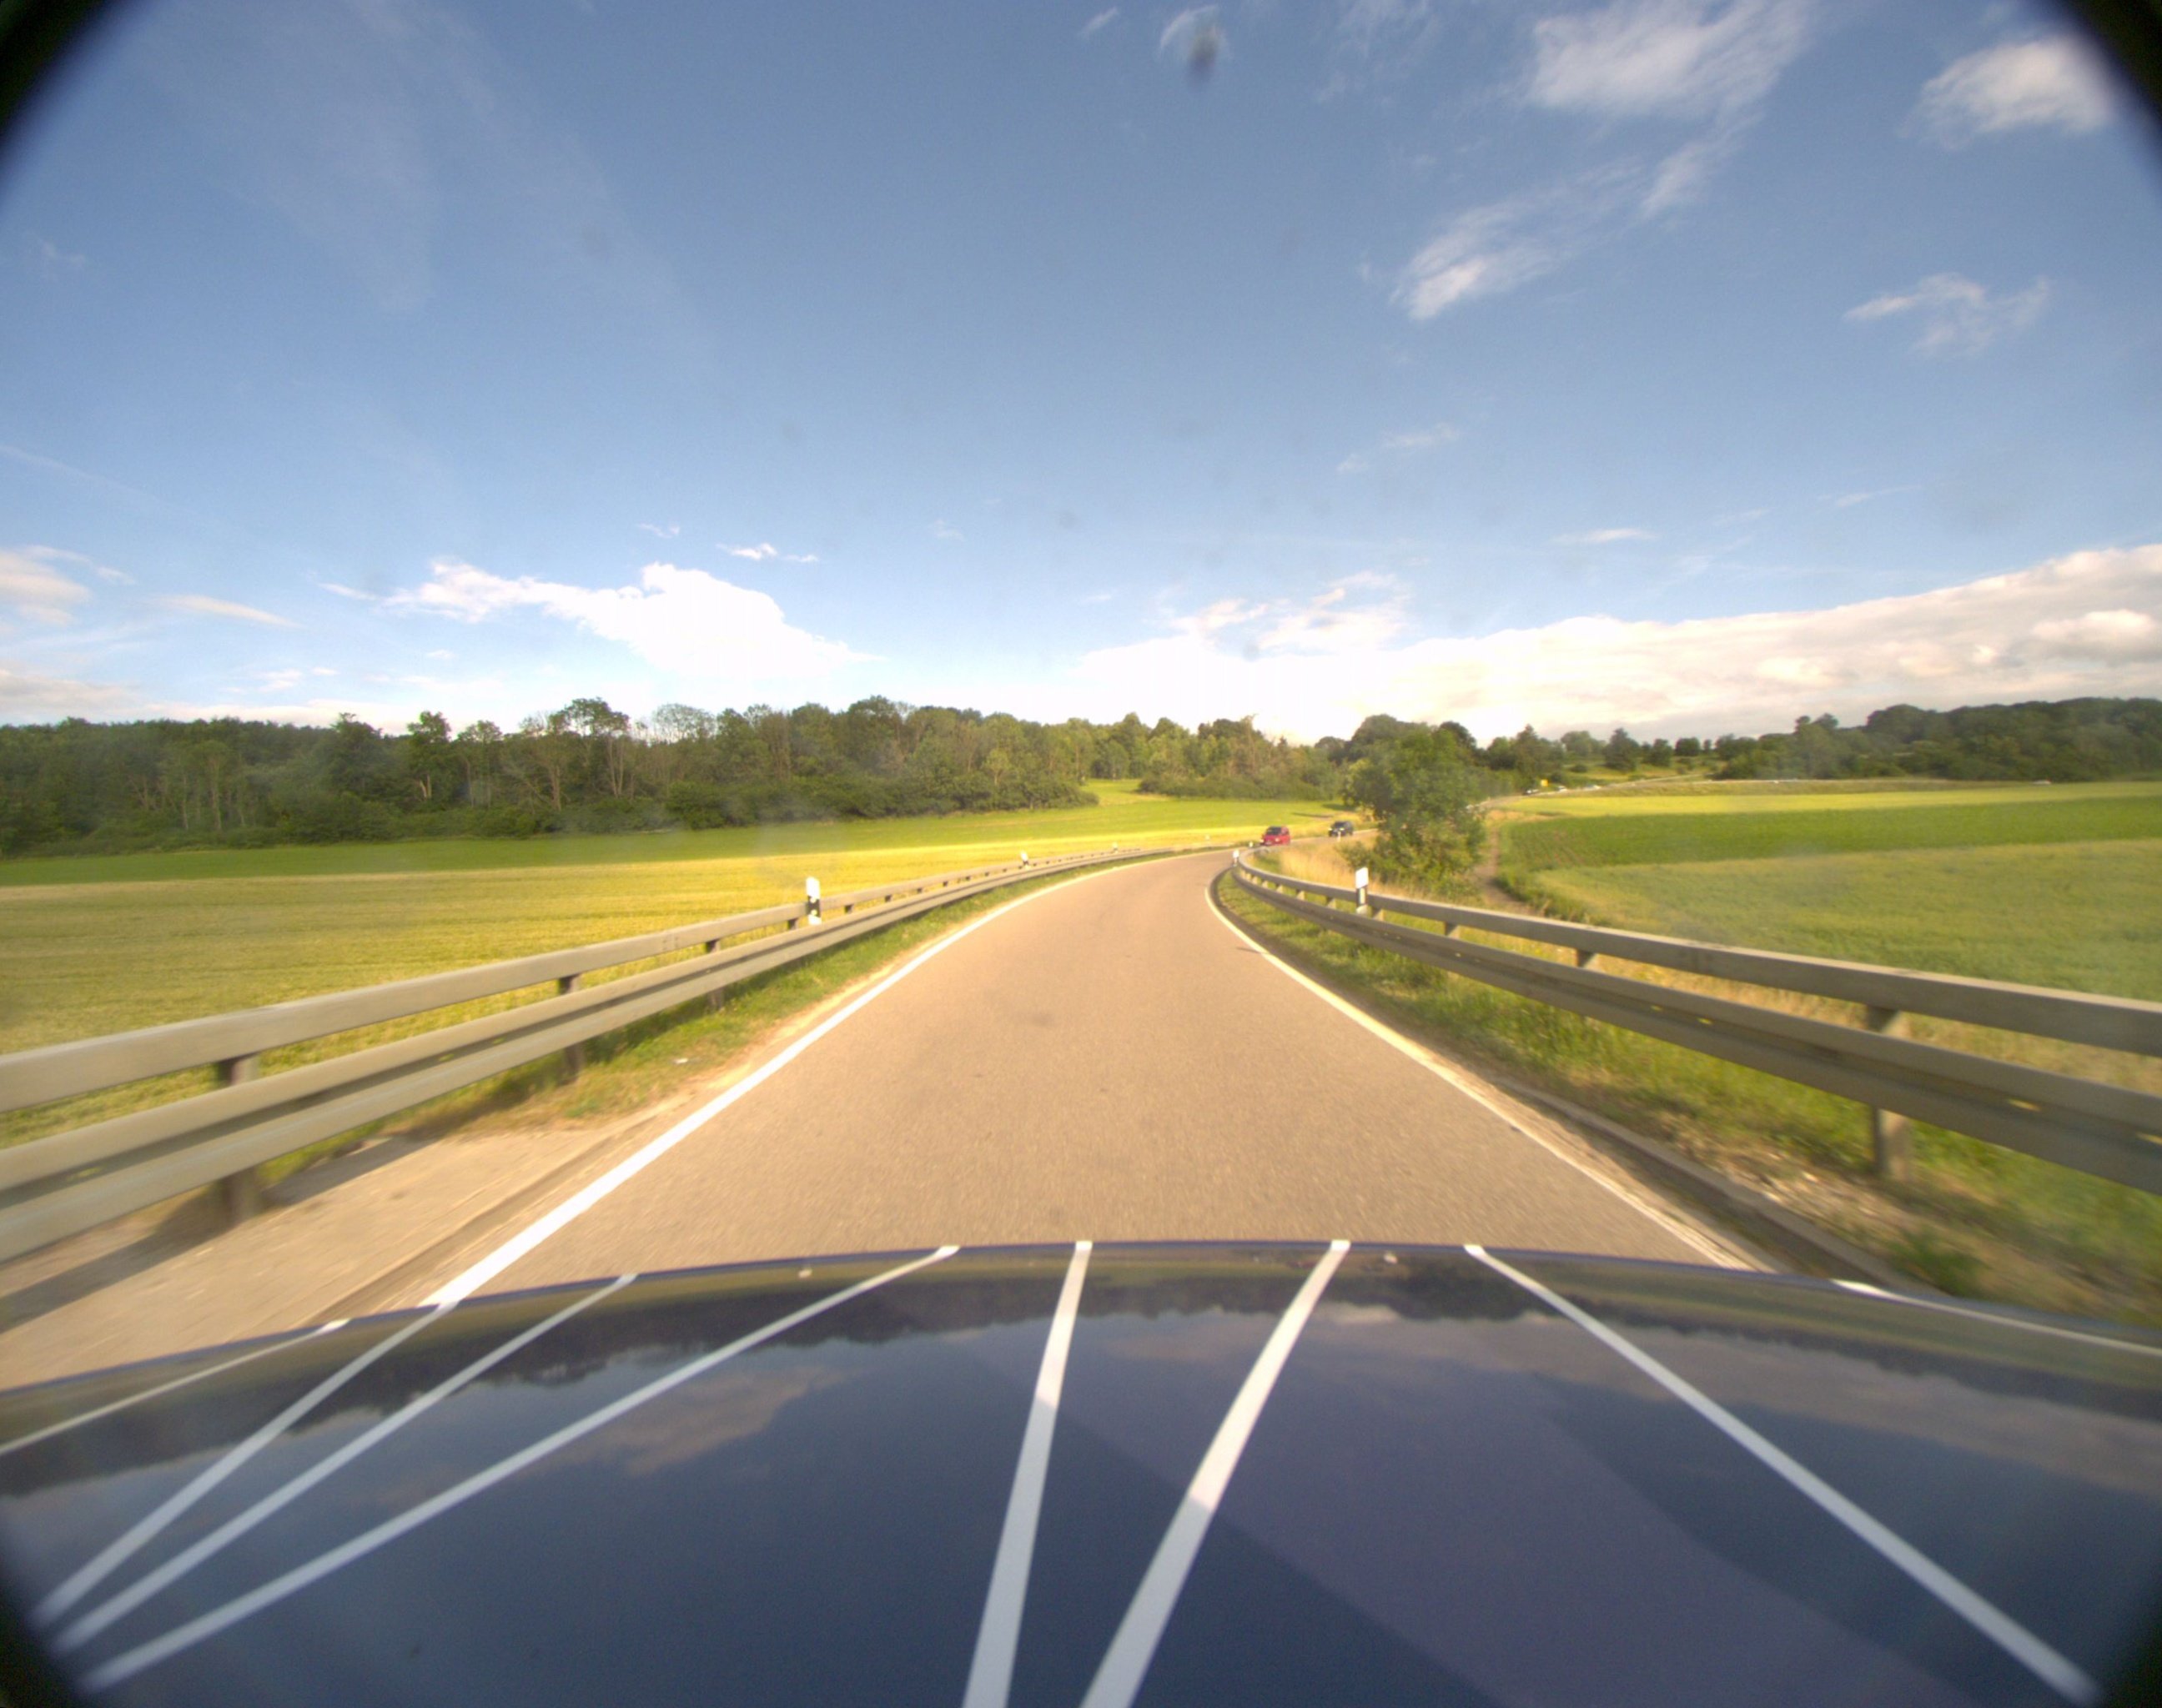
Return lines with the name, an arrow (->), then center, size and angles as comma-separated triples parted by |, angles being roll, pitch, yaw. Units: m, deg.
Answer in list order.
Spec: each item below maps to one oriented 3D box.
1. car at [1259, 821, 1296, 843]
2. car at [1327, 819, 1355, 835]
car -> 16.649, -1.887, 64.305 | 1.817, 1.646, 4.006 | -1, 3, 33
car -> 28.890, -3.027, 84.358 | 1.817, 1.603, 4.006 | 1, 4, 35
